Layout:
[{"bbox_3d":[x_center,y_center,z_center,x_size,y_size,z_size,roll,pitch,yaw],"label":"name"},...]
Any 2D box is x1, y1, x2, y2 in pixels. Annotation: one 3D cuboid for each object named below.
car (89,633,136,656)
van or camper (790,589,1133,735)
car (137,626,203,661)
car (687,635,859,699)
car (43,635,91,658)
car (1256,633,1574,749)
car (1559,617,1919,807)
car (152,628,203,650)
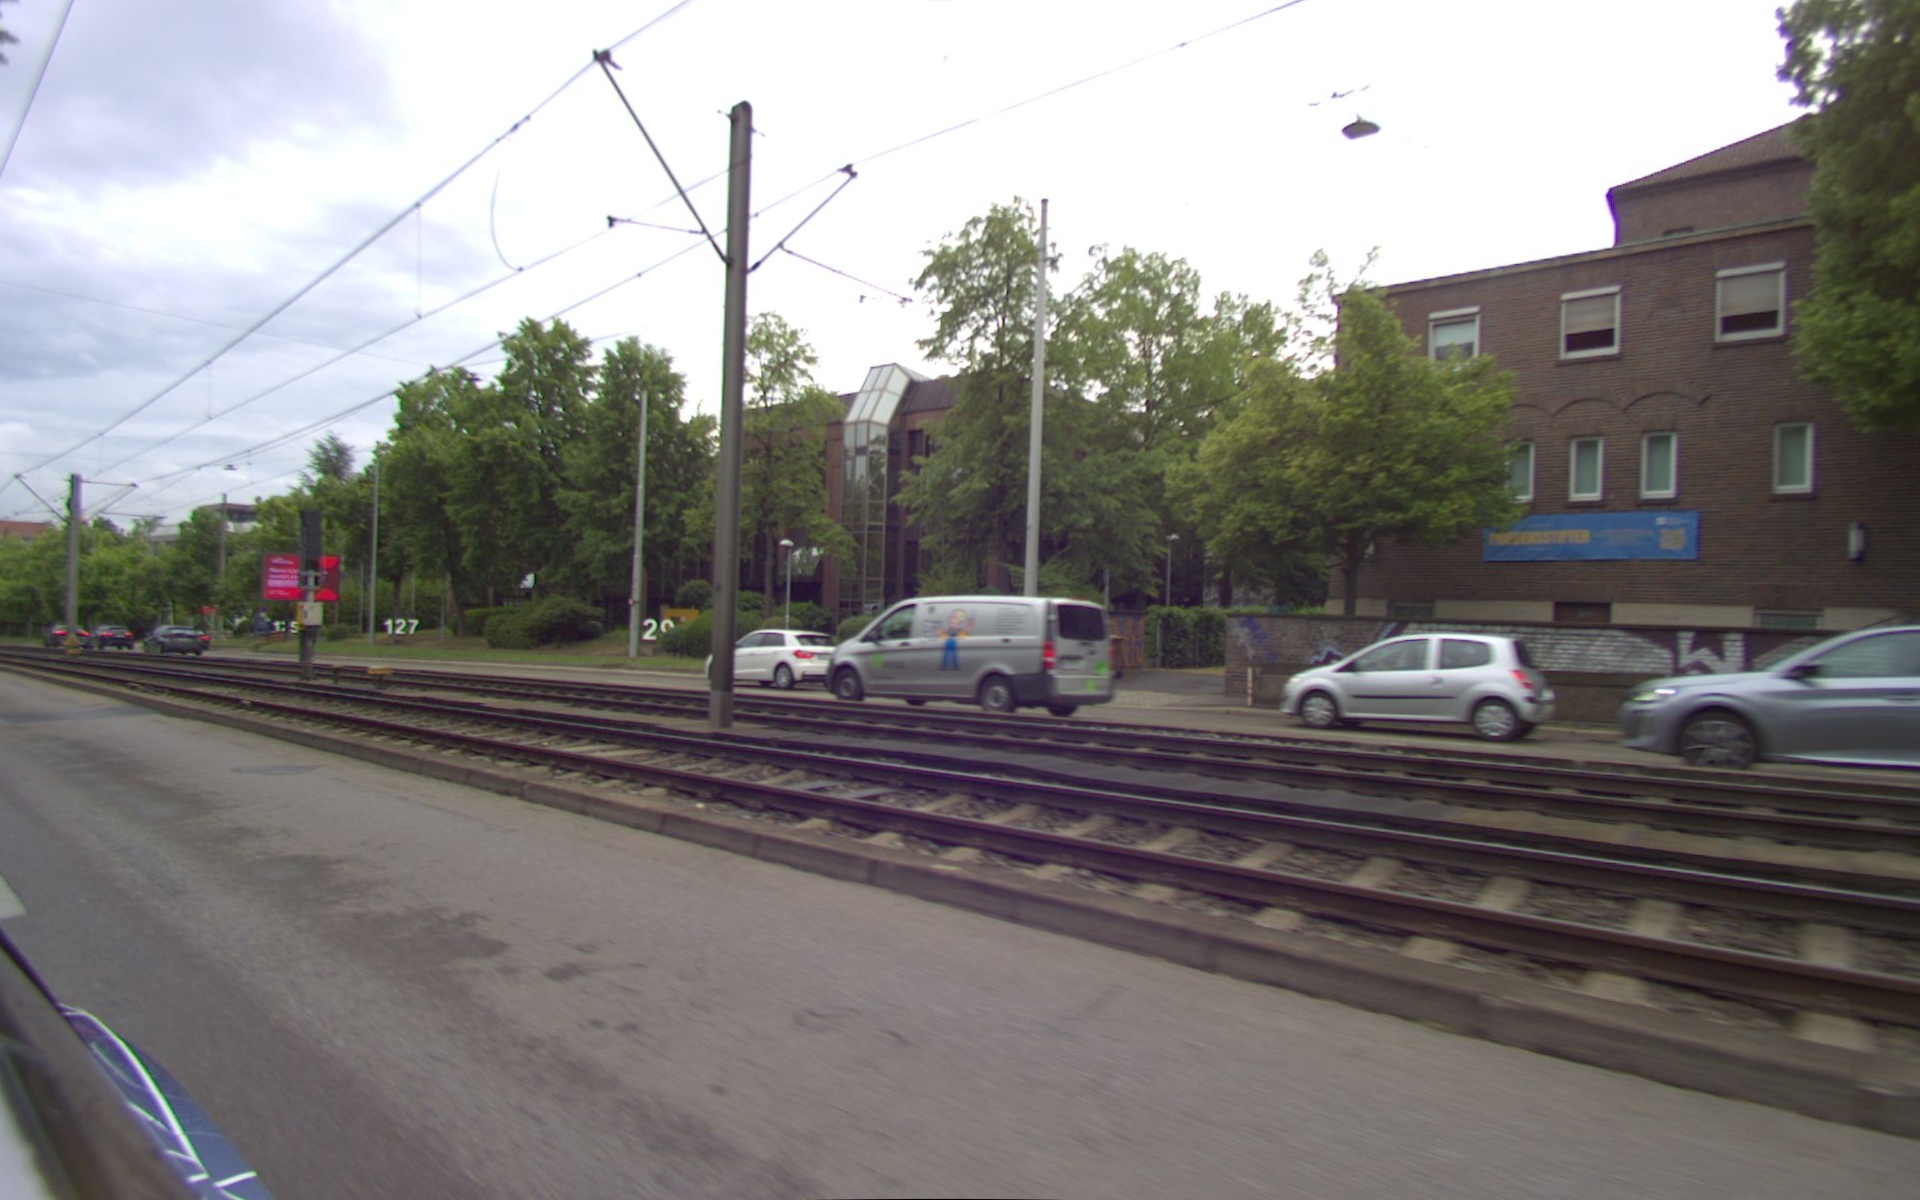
[{"bbox_3d":[-58.729,3.085,70.101,4.337,1.523,1.747,-2,-2,40],"label":"car"},{"bbox_3d":[-0.172,0.932,16.354,5.690,1.974,1.894,-2,-3,41],"label":"van or camper"},{"bbox_3d":[-38.617,2.100,49.420,4.337,1.650,1.670,-2,-3,40],"label":"car"},{"bbox_3d":[-4.630,1.607,24.728,4.357,1.428,1.671,-2,-4,39],"label":"car"},{"bbox_3d":[-57.746,2.979,65.421,4.337,1.404,1.670,-2,-2,40],"label":"car"},{"bbox_3d":[6.592,1.272,14.876,3.980,1.479,1.730,-2,-5,39],"label":"car"},{"bbox_3d":[8.138,0.941,9.120,4.500,1.544,1.769,-2,-2,39],"label":"car"},{"bbox_3d":[-55.583,2.762,71.859,4.337,1.513,1.933,-2,-2,40],"label":"car"}]
